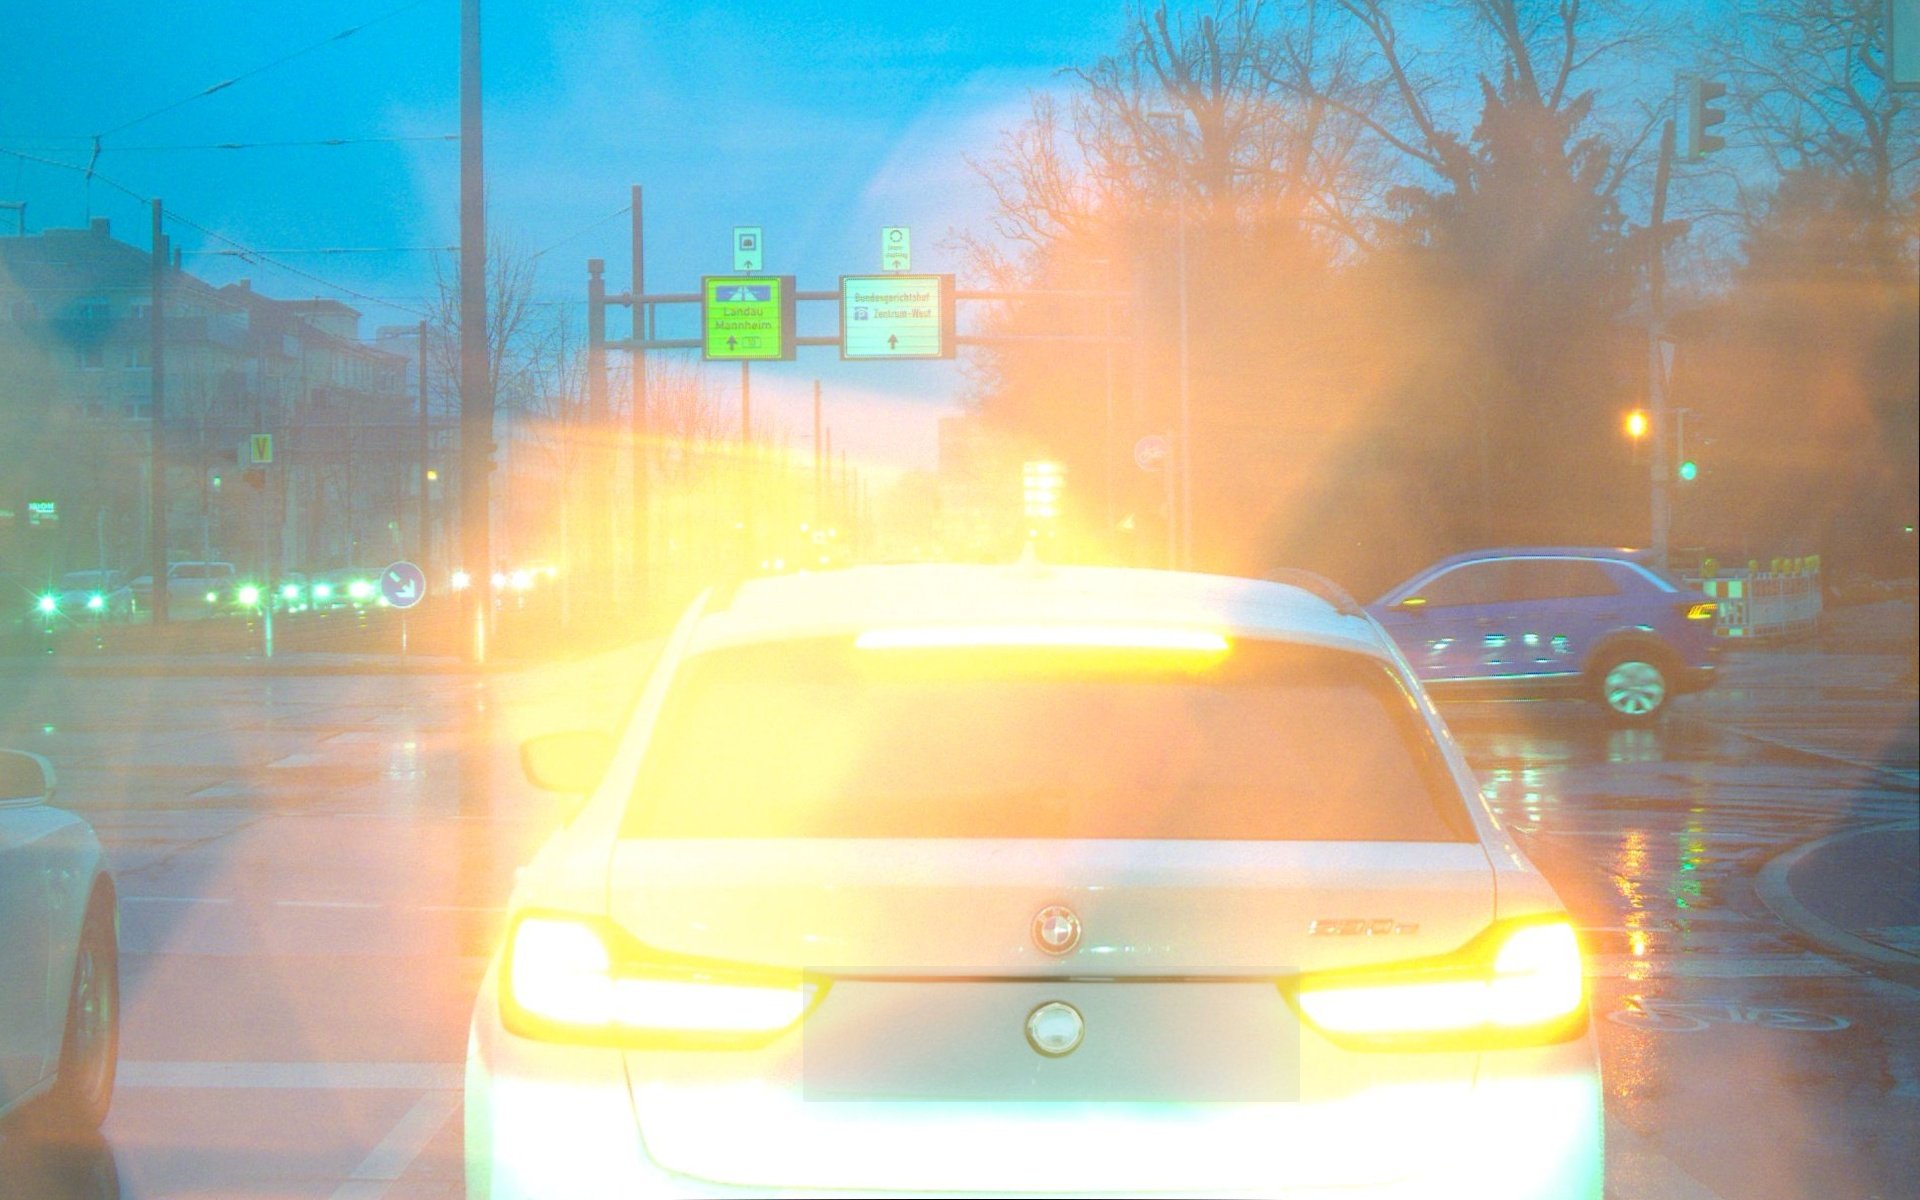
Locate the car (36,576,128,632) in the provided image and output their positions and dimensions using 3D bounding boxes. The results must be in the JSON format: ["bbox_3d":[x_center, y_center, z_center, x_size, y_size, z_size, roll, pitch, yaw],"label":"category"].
[{"bbox_3d":[-24.671,0.115,96.717,1.675,1.502,3.696,1,0,-1],"label":"car"}]

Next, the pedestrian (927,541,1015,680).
[{"bbox_3d":[0.151,0.139,46.492,0.904,1.850,0.811,1,0,24],"label":"pedestrian"}]

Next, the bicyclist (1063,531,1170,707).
[{"bbox_3d":[1.599,0.189,35.039,0.972,1.753,0.813,1,0,8],"label":"bicyclist"}]

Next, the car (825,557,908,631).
[{"bbox_3d":[-2.157,-0.137,79.161,1.843,1.603,3.945,1,0,-2],"label":"car"}]

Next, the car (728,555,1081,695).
[{"bbox_3d":[-0.690,0.283,40.805,3.964,1.548,1.745,1,0,39],"label":"car"}]

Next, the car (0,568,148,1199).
[{"bbox_3d":[-3.095,0.676,7.065,1.993,1.451,4.369,0,1,-2],"label":"car"}]

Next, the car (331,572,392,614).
[{"bbox_3d":[-22.608,-0.259,130.004,1.675,1.502,3.696,1,0,-1],"label":"car"}]

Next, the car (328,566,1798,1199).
[{"bbox_3d":[0.050,0.679,6.847,1.993,1.451,4.369,0,1,-2],"label":"car"}]

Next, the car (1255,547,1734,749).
[{"bbox_3d":[4.673,0.399,30.070,3.989,1.617,1.718,1,0,11],"label":"car"}]

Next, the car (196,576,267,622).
[{"bbox_3d":[-24.812,-0.028,117.166,1.675,1.502,3.696,1,0,-1],"label":"car"}]

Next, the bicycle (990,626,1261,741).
[{"bbox_3d":[1.692,0.839,35.025,2.668,1.085,0.815,1,0,9],"label":"bicycle"}]
